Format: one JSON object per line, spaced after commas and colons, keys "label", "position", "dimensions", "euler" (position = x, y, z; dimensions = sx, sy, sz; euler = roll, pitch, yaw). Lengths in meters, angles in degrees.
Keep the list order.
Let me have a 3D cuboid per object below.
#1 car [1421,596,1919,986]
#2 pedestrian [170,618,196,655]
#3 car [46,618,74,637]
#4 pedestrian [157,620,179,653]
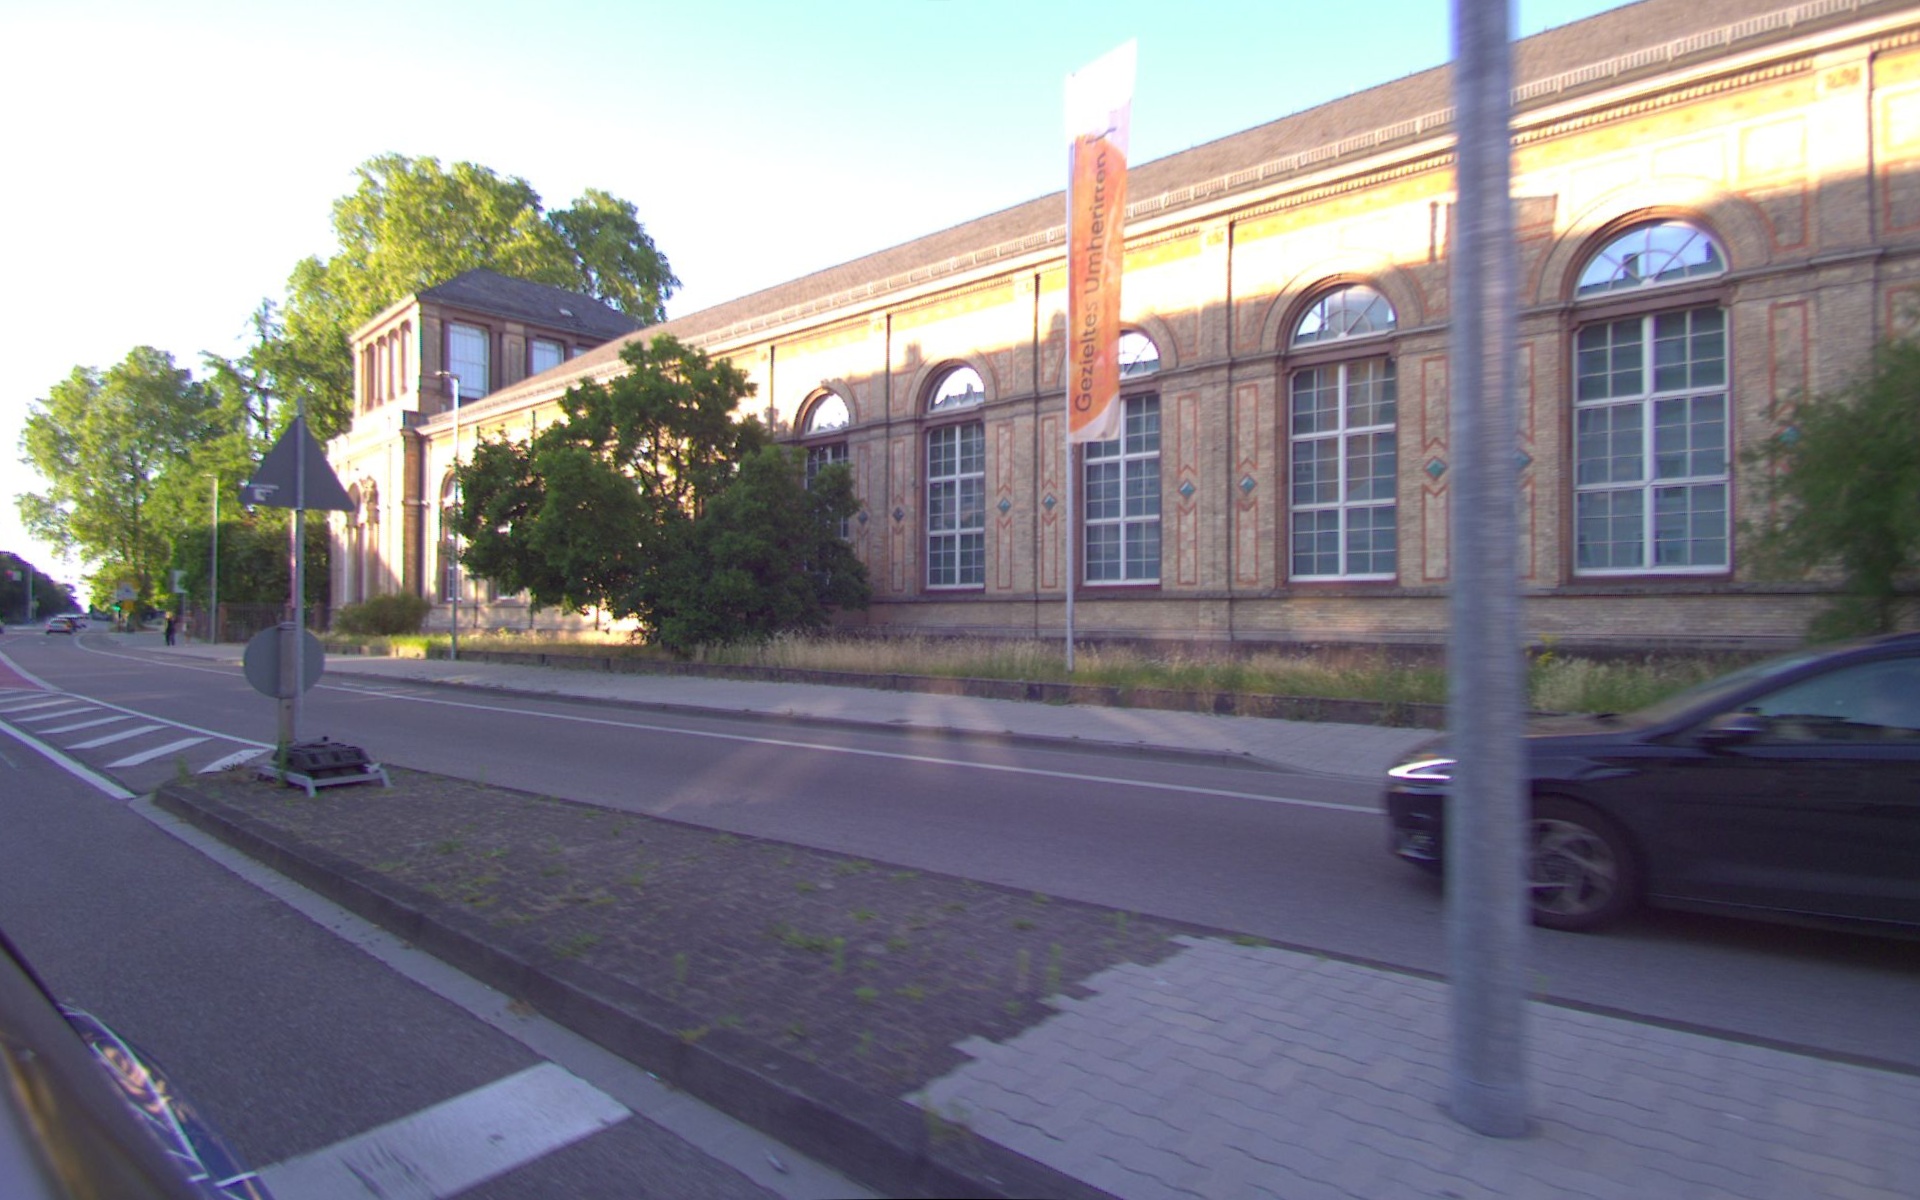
{"label": "car", "position": [4.593, 0.752, 4.452], "dimensions": [4.417, 1.519, 1.807], "euler": [-1, -1, 36]}
{"label": "pedestrian", "position": [-37.157, 1.718, 48.385], "dimensions": [0.795, 1.751, 0.852], "euler": [0, -1, -24]}
{"label": "car", "position": [-83.004, 2.556, 93.372], "dimensions": [1.892, 1.697, 4.005], "euler": [1, -1, -41]}
{"label": "pedestrian", "position": [-37.673, 1.725, 48.125], "dimensions": [0.666, 1.524, 0.836], "euler": [-4, 1, -42]}
